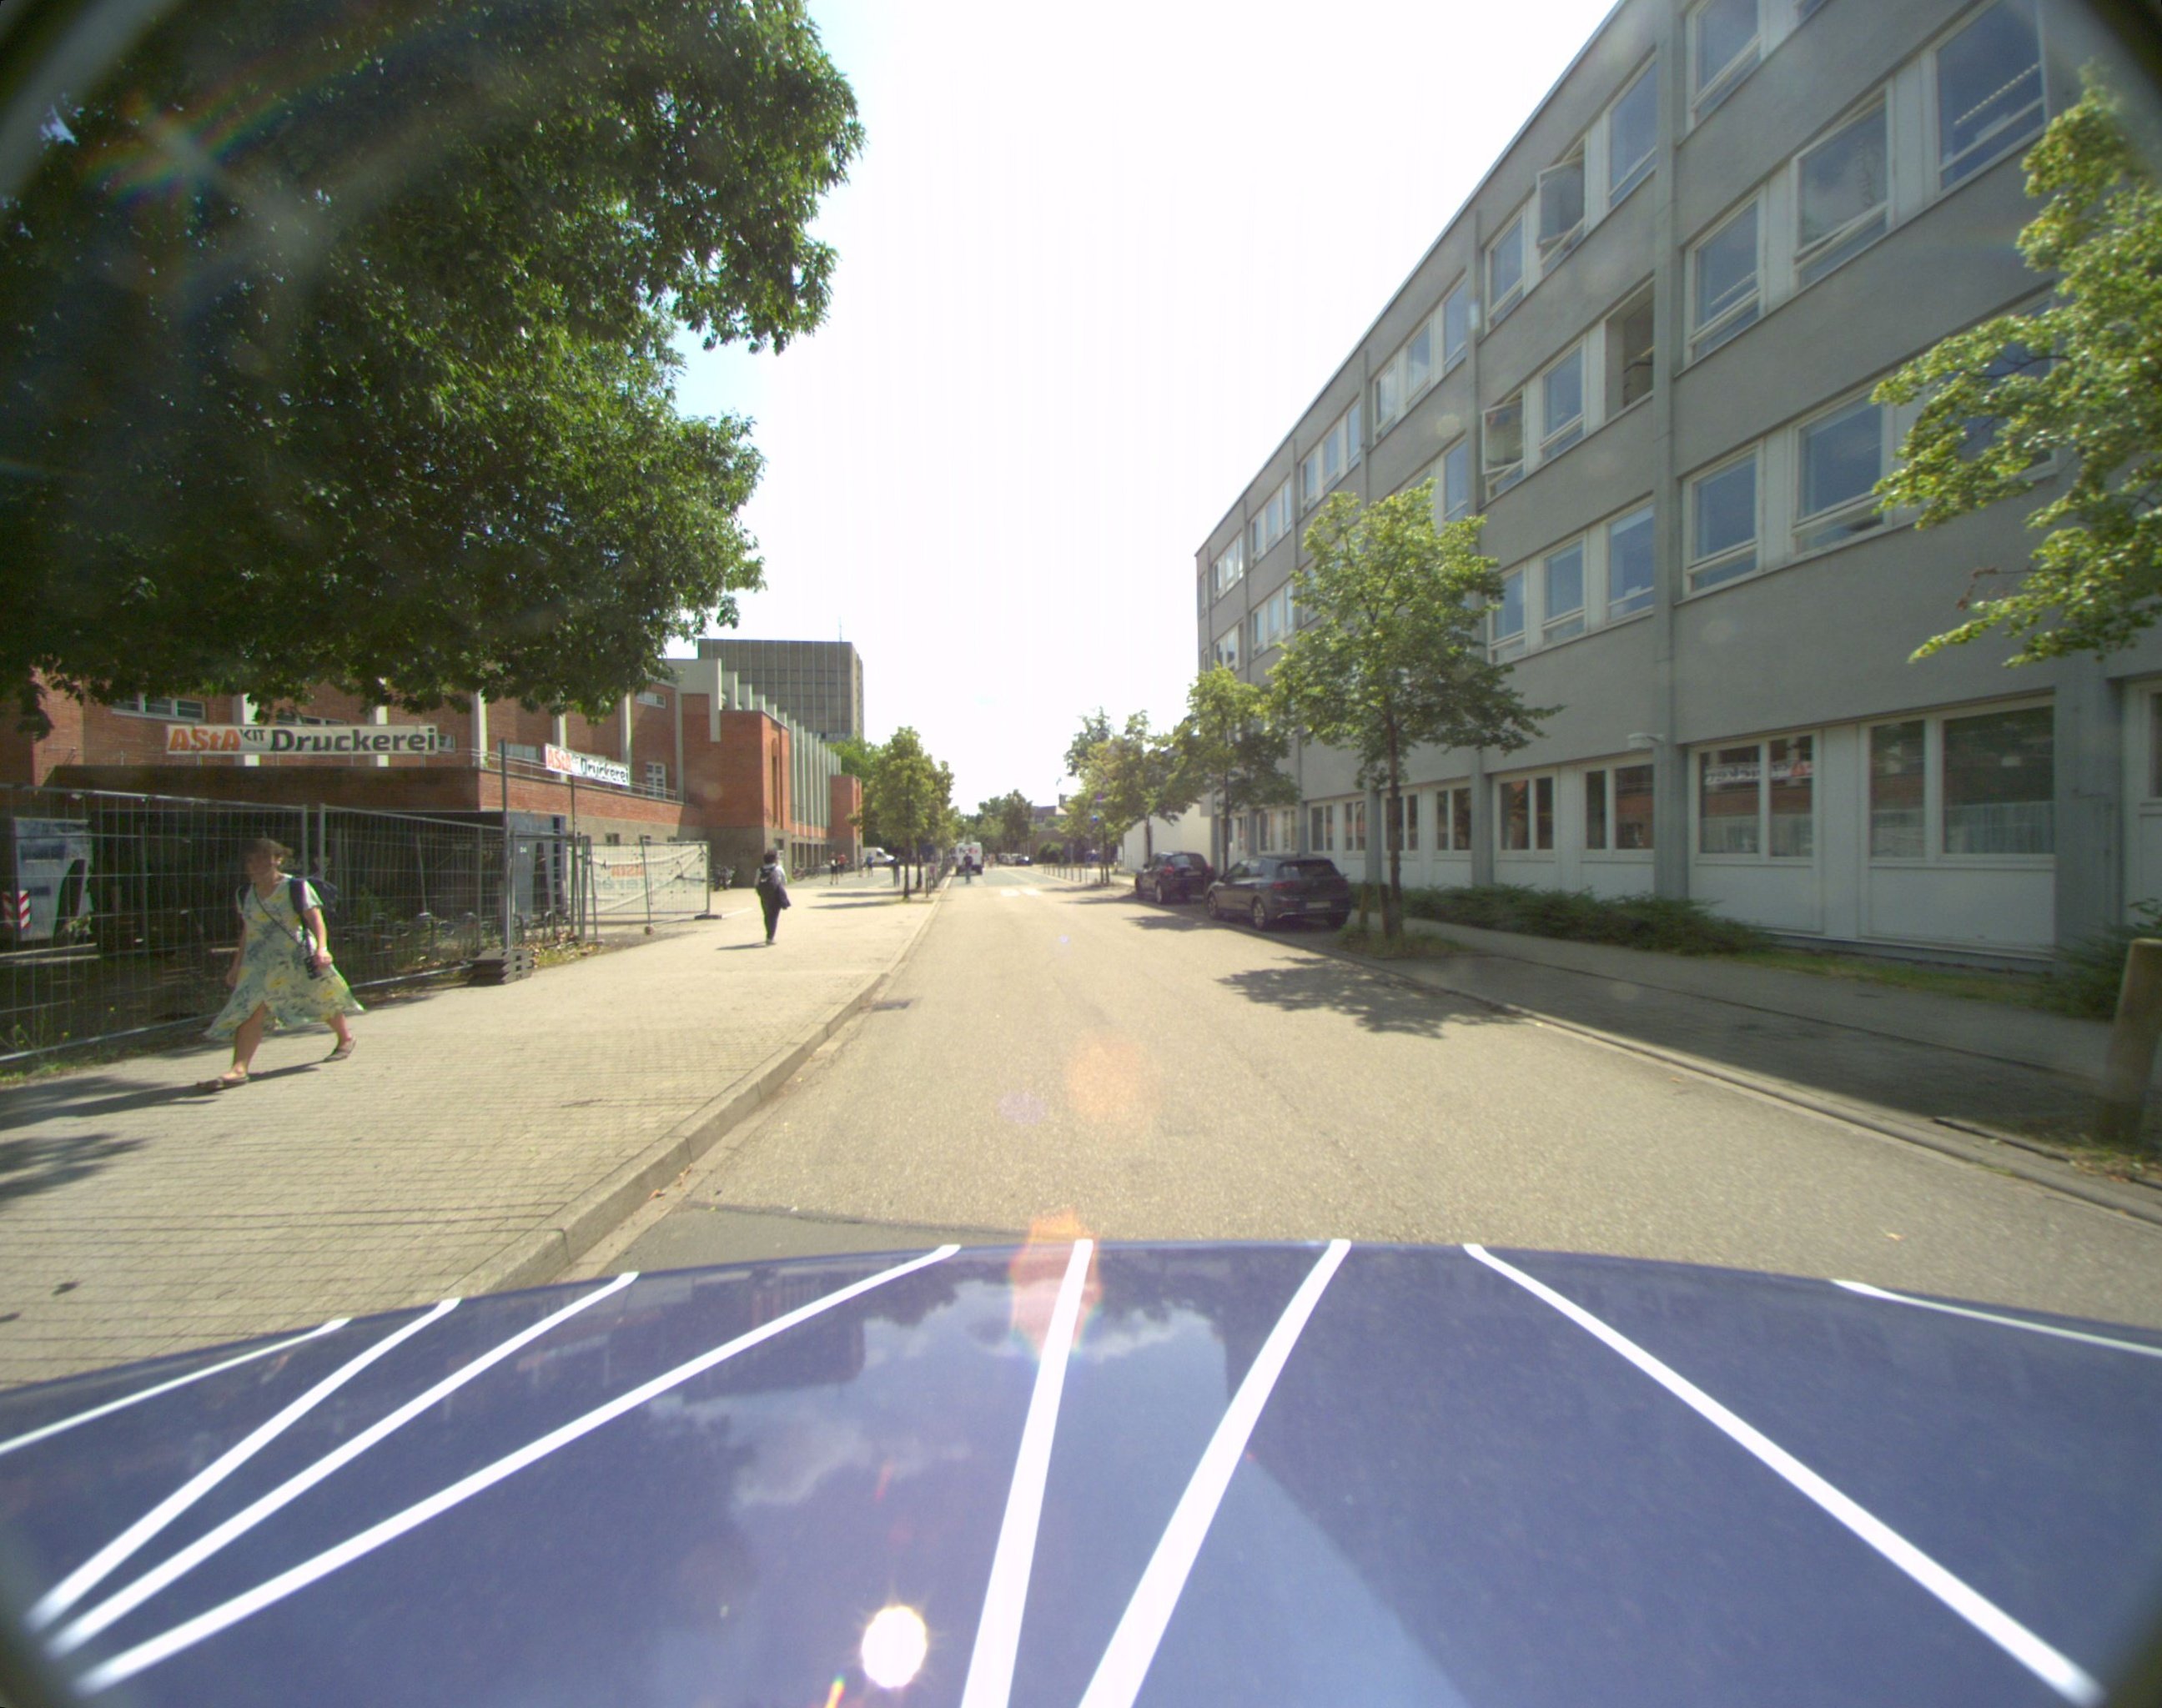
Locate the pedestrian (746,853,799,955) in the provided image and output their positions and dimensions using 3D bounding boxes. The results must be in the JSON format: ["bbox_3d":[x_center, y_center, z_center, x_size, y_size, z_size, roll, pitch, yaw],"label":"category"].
[{"bbox_3d":[-5.578,0.879,13.787,0.697,1.770,0.786,0,1,-9],"label":"pedestrian"}]

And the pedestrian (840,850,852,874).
[{"bbox_3d":[-17.861,0.621,57.720,0.665,1.823,0.906,-1,1,-2],"label":"pedestrian"}]

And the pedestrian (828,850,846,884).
[{"bbox_3d":[-13.486,0.714,41.985,0.847,1.823,1.196,-1,1,-14],"label":"pedestrian"}]

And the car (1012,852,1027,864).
[{"bbox_3d":[-7.872,0.481,97.034,1.636,1.423,3.630,-1,0,-9],"label":"car"}]

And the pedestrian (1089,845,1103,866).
[{"bbox_3d":[1.348,0.146,68.317,1.023,1.837,0.917,1,0,22],"label":"pedestrian"}]

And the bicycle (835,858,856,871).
[{"bbox_3d":[-20.764,0.946,66.931,1.700,1.103,0.435,-1,1,-10],"label":"bicycle"}]

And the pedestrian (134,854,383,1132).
[{"bbox_3d":[-5.366,0.835,5.033,0.651,1.656,0.904,0,1,-6],"label":"pedestrian"}]

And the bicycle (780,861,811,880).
[{"bbox_3d":[-18.097,1.023,48.174,1.759,1.143,0.517,-1,1,-10],"label":"bicycle"}]

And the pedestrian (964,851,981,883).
[{"bbox_3d":[-6.257,0.739,43.633,0.826,1.807,1.143,-1,1,-14],"label":"pedestrian"}]

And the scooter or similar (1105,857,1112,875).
[{"bbox_3d":[2.035,0.888,55.958,0.483,1.256,1.313,-1,1,4],"label":"scooter or similar"}]

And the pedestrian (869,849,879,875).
[{"bbox_3d":[-15.416,0.608,56.575,0.666,1.879,1.108,0,1,-11],"label":"pedestrian"}]

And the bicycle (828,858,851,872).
[{"bbox_3d":[-20.496,0.938,64.623,1.803,1.103,0.435,-1,1,-10],"label":"bicycle"}]

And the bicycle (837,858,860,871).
[{"bbox_3d":[-21.040,0.928,68.715,1.936,1.103,0.456,-1,1,-10],"label":"bicycle"}]

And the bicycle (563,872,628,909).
[{"bbox_3d":[-15.487,1.163,24.262,1.707,1.103,0.447,-1,1,-8],"label":"bicycle"}]

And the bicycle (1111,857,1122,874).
[{"bbox_3d":[2.283,0.736,48.961,0.545,1.055,1.898,-1,0,-4],"label":"bicycle"}]

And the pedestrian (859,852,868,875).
[{"bbox_3d":[-16.152,0.711,56.456,0.587,1.697,1.001,0,1,-11],"label":"pedestrian"}]

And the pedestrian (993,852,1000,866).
[{"bbox_3d":[-10.294,0.600,92.756,0.558,1.706,0.971,-1,1,-20],"label":"pedestrian"}]

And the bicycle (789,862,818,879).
[{"bbox_3d":[-18.455,1.068,50.587,1.753,1.103,0.435,-1,1,-10],"label":"bicycle"}]

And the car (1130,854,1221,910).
[{"bbox_3d":[2.864,0.809,23.872,1.702,1.555,4.064,-1,0,-10],"label":"car"}]

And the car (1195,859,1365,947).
[{"bbox_3d":[3.949,0.897,15.901,1.784,1.452,4.255,-2,1,-10],"label":"car"}]

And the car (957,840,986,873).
[{"bbox_3d":[-8.815,0.177,60.681,2.066,2.528,5.844,-1,0,-10],"label":"car"}]

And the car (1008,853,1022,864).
[{"bbox_3d":[-8.933,0.606,102.705,1.649,1.368,3.997,-1,0,-8],"label":"car"}]

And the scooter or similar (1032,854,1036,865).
[{"bbox_3d":[-5.363,0.647,86.969,0.471,1.209,1.204,-1,1,-3],"label":"scooter or similar"}]

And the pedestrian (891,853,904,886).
[{"bbox_3d":[-9.764,0.812,40.414,0.644,1.687,0.791,-1,1,-14],"label":"pedestrian"}]

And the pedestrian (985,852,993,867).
[{"bbox_3d":[-11.193,0.672,92.263,0.727,1.776,0.898,-1,1,-26],"label":"pedestrian"}]

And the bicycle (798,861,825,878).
[{"bbox_3d":[-18.471,1.067,52.102,1.688,1.103,0.435,-1,1,-10],"label":"bicycle"}]

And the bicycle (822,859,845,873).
[{"bbox_3d":[-19.946,0.973,61.182,1.688,1.103,0.435,-1,1,-10],"label":"bicycle"}]

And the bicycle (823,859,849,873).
[{"bbox_3d":[-20.251,0.958,62.828,1.918,1.103,0.435,-1,1,-10],"label":"bicycle"}]

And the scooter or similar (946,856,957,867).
[{"bbox_3d":[-15.184,0.887,88.764,1.141,1.236,0.577,0,0,26],"label":"scooter or similar"}]

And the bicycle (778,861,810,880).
[{"bbox_3d":[-17.857,1.051,47.274,1.759,1.143,0.435,-1,1,-10],"label":"bicycle"}]

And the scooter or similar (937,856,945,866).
[{"bbox_3d":[-16.575,0.876,90.054,0.575,1.173,1.478,0,0,5],"label":"scooter or similar"}]

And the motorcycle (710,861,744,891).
[{"bbox_3d":[-16.186,0.981,34.782,0.698,1.315,2.218,-1,1,-6],"label":"motorcycle"}]

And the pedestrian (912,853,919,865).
[{"bbox_3d":[-22.313,0.677,102.387,0.785,1.666,1.077,0,1,-18],"label":"pedestrian"}]

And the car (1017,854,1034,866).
[{"bbox_3d":[-6.642,0.718,90.646,1.702,1.287,3.759,-1,0,-8],"label":"car"}]
